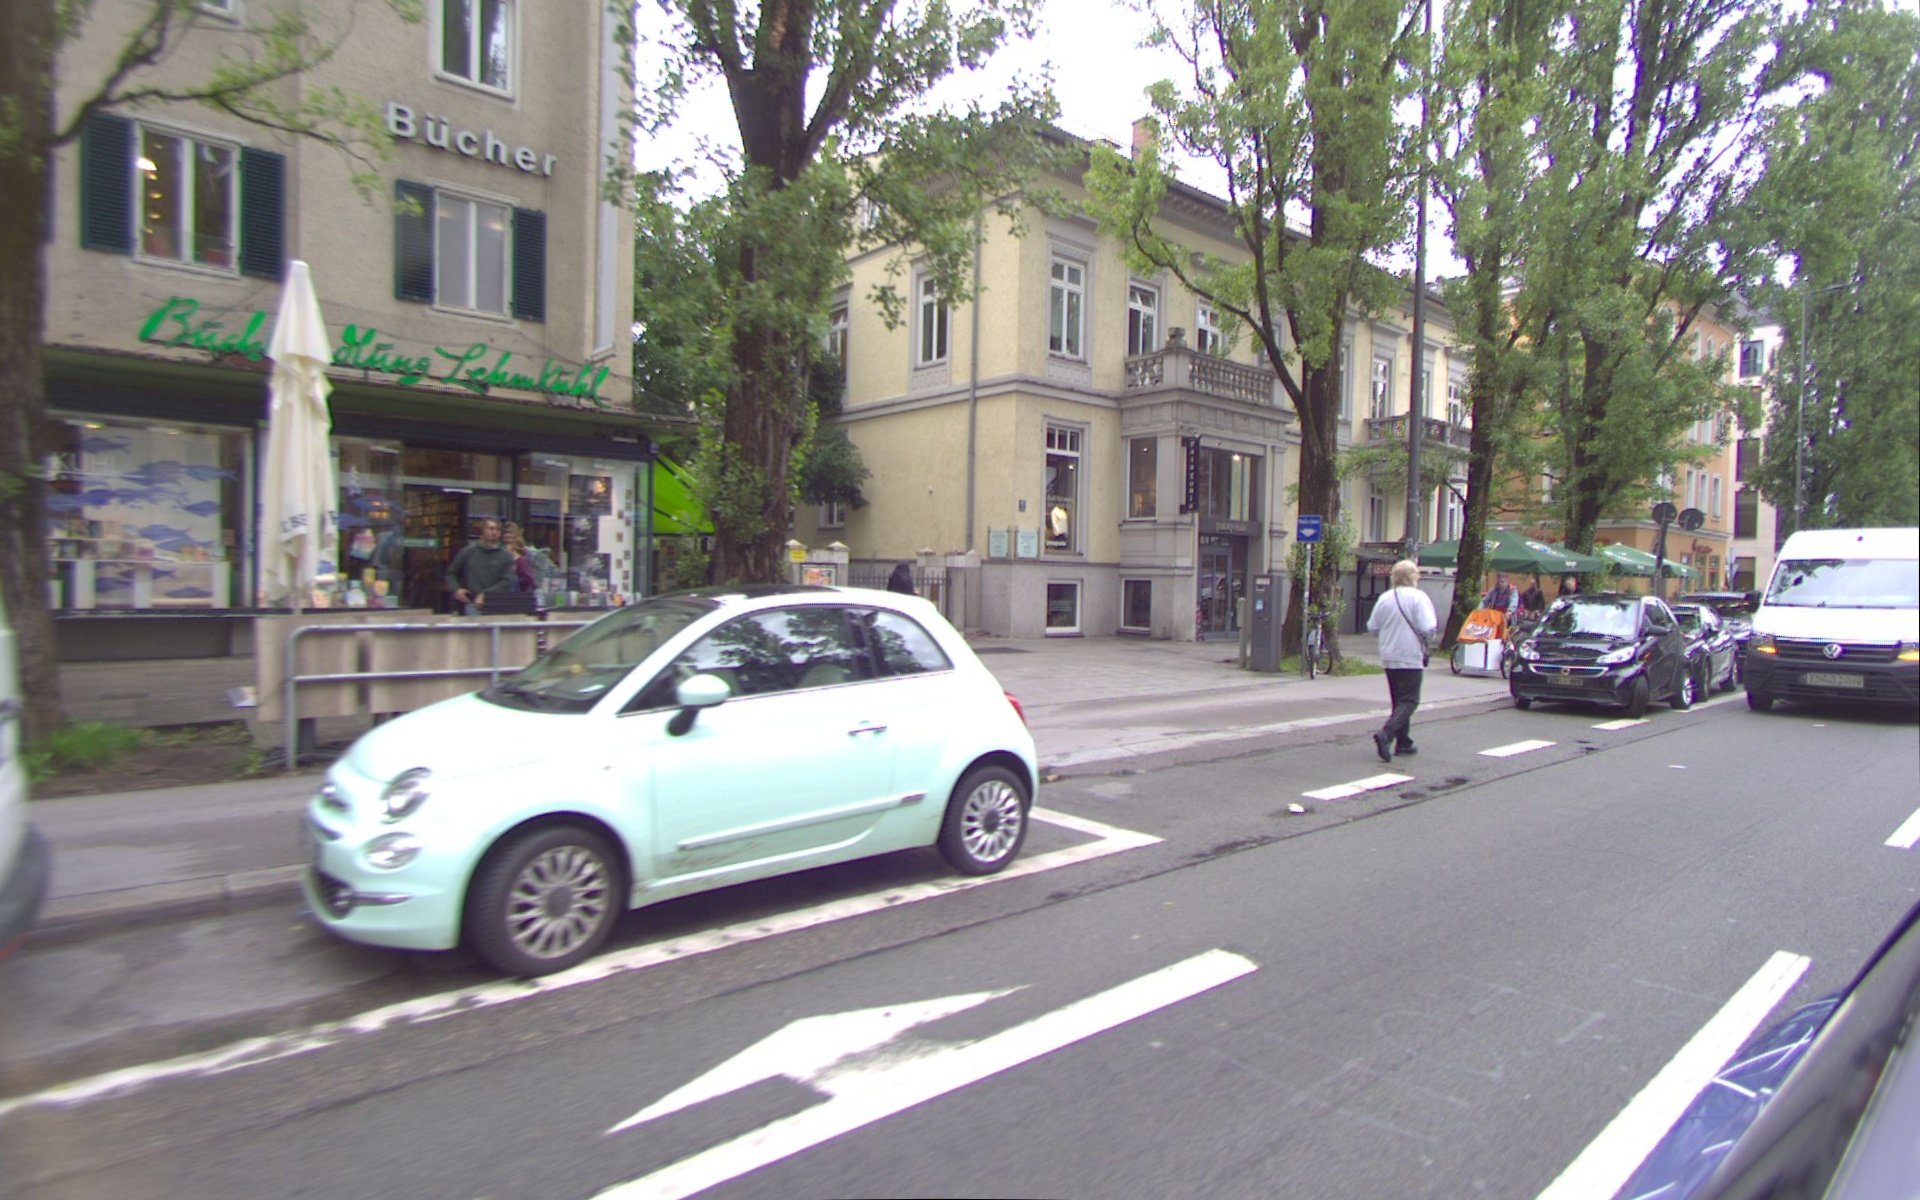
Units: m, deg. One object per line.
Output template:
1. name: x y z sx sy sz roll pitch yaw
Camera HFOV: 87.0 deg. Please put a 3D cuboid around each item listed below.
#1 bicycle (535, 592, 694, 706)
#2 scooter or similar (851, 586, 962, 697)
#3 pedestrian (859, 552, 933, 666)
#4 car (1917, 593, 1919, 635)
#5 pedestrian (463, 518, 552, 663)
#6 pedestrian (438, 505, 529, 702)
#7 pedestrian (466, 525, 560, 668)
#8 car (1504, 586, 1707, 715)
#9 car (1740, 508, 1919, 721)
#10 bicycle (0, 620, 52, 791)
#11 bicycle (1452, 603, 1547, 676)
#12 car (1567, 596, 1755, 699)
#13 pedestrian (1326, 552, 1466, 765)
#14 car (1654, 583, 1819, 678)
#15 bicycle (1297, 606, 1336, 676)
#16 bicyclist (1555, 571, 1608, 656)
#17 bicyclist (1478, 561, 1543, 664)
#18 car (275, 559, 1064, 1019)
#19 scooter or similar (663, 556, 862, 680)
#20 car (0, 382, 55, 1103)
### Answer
1. bicycle: -3.318 0.440 9.802 1.431 1.008 0.349 -1 3 -44
2. scooter or similar: -0.612 0.460 11.996 1.420 1.230 0.327 -1 3 -44
3. pedestrian: -0.949 0.122 15.028 0.855 1.625 0.617 0 3 -43
4. car: 38.047 0.537 38.672 4.421 1.572 1.787 0 0 -41
5. pedestrian: -5.942 -0.132 13.288 0.861 1.818 0.773 0 1 -40
6. pedestrian: -4.872 0.023 10.323 0.732 1.888 0.961 1 1 -30
7. pedestrian: -5.558 -0.052 12.580 0.861 1.698 0.799 0 1 -40
8. car: 8.623 0.591 13.475 2.681 1.537 1.595 0 0 -41
9. car: 13.415 0.166 14.628 6.611 2.524 2.067 0 1 -40
10. bicycle: -6.270 0.653 5.906 1.431 1.008 0.349 -1 3 -44
11. bicycle: 9.403 0.652 17.603 0.885 1.133 2.068 4 2 44
12. car: 11.311 0.657 16.210 4.272 1.411 1.711 0 1 -45
13. pedestrian: 3.932 0.480 9.134 0.855 1.795 0.829 0 1 -39
14. car: 15.208 0.510 19.730 4.371 1.658 1.805 0 1 -42
15. bicycle: 5.701 0.629 16.145 0.504 1.006 1.616 2 1 22
16. bicyclist: 12.774 0.263 20.809 0.736 1.708 0.740 0 1 -43
17. bicyclist: 9.738 0.205 17.900 0.829 1.779 0.657 2 1 44
18. car: -1.247 0.600 5.038 3.460 1.511 1.544 0 1 -40
19. scooter or similar: -2.407 0.215 12.669 2.454 1.393 0.637 1 2 -44
20. car: -4.914 0.369 1.958 4.647 1.970 1.791 0 1 -41
